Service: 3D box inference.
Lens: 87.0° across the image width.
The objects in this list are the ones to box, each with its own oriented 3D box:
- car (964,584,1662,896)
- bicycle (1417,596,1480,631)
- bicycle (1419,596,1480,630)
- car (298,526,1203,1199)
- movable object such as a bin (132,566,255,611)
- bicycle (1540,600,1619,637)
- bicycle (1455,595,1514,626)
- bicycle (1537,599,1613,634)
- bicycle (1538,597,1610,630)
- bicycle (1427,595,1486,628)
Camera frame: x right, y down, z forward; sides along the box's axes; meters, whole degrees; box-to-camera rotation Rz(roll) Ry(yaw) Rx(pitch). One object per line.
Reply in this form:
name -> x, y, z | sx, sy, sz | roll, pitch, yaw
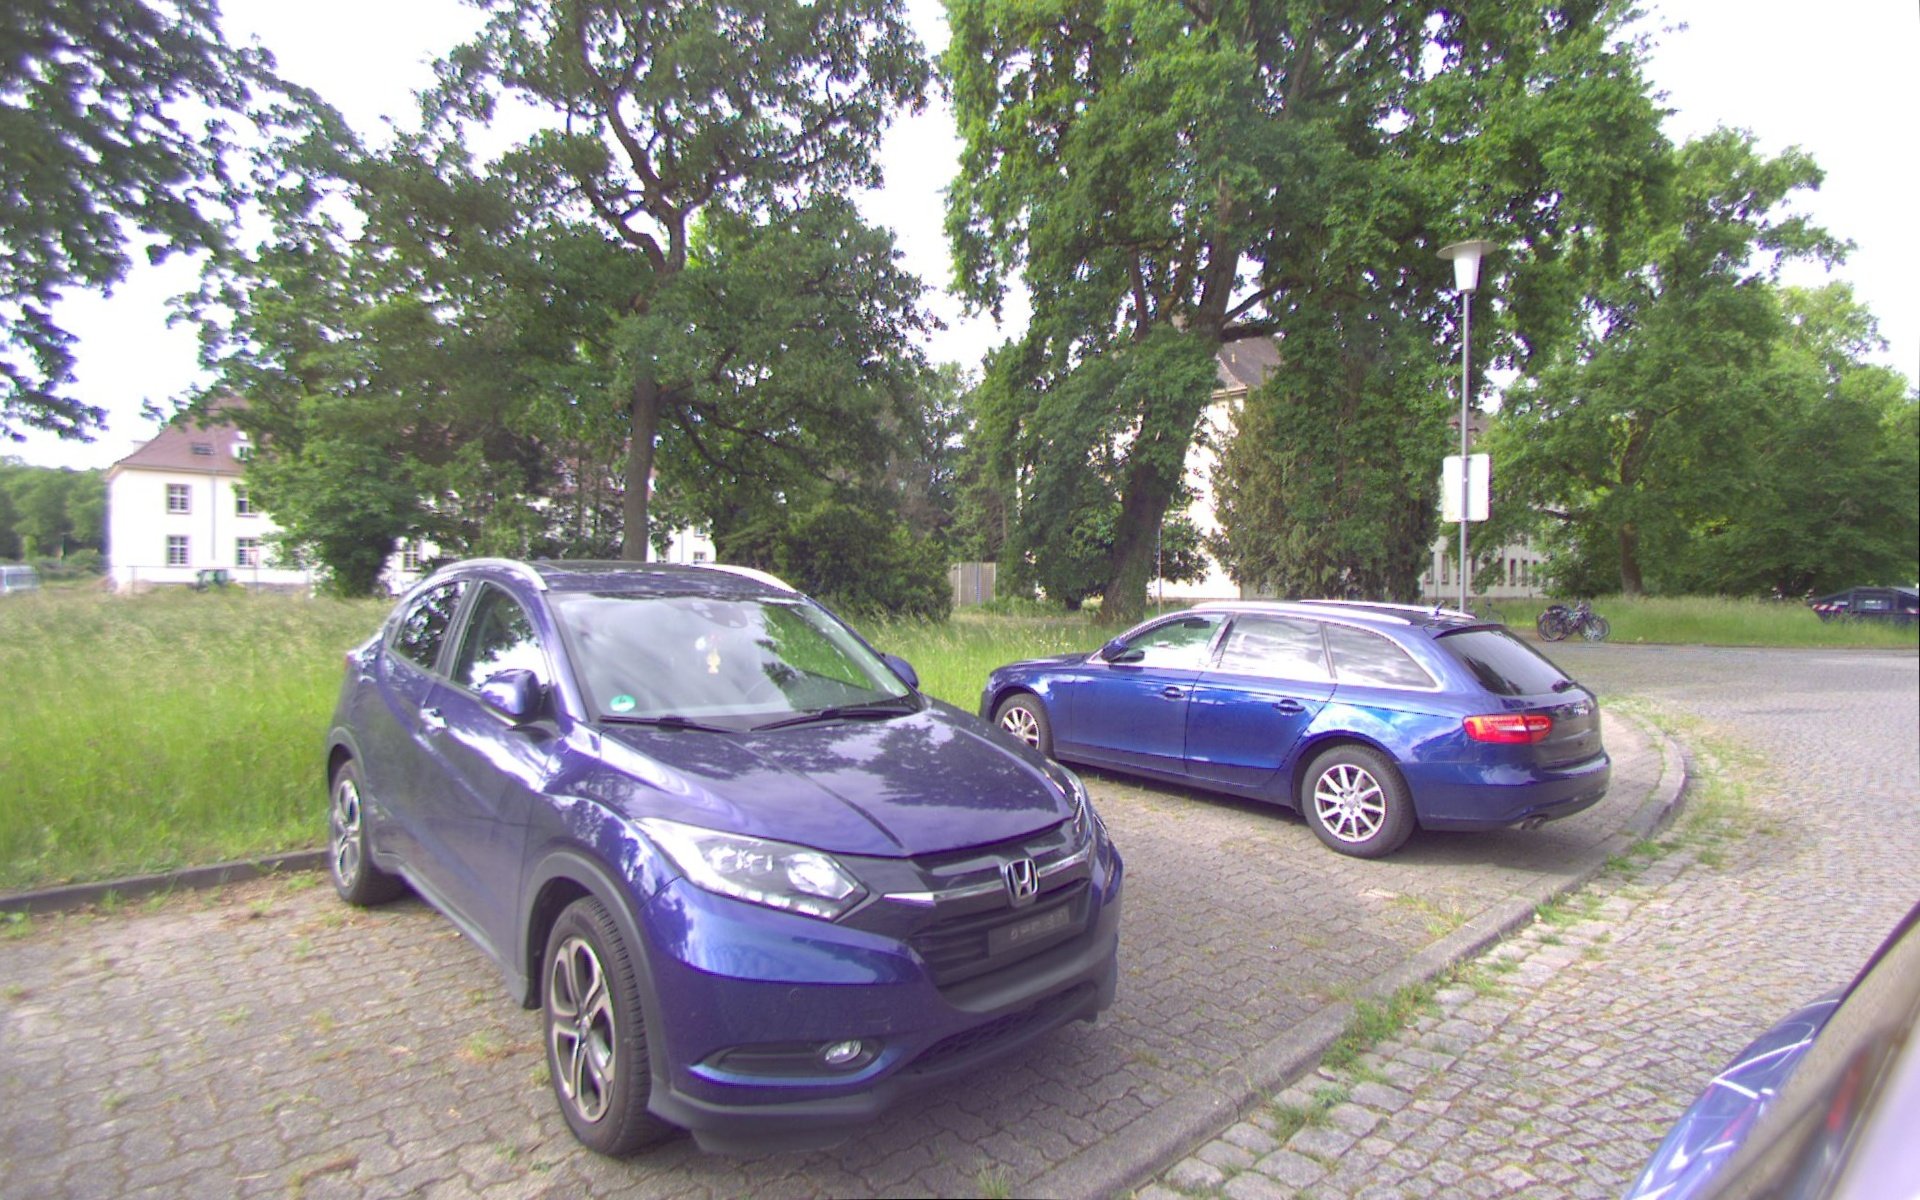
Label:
car -> 2.145, 0.663, 7.292 | 1.753, 1.439, 4.479 | 0, 2, -40
bicycle -> 16.245, 0.439, 33.680 | 1.837, 1.137, 0.617 | 0, 0, 24
bicycle -> 16.538, 0.432, 34.246 | 1.837, 1.137, 0.617 | 0, 0, 24
car -> -1.268, 0.588, 4.178 | 1.763, 1.591, 4.167 | -2, 2, -43
movable object such as a bin -> -47.192, -0.734, 62.497 | 5.860, 2.688, 2.177 | -1, 0, -32
bicycle -> 18.746, 0.563, 30.669 | 1.948, 1.090, 0.584 | 0, 0, 20
bicycle -> 19.166, 0.378, 37.021 | 1.837, 1.137, 0.617 | 0, 0, 24
bicycle -> 19.509, 0.509, 32.131 | 1.948, 1.090, 0.584 | 0, 0, 20
bicycle -> 20.599, 0.436, 33.997 | 2.007, 1.090, 0.617 | 0, 0, 24
bicycle -> 17.463, 0.413, 35.647 | 1.837, 1.137, 0.617 | 0, 0, 24
